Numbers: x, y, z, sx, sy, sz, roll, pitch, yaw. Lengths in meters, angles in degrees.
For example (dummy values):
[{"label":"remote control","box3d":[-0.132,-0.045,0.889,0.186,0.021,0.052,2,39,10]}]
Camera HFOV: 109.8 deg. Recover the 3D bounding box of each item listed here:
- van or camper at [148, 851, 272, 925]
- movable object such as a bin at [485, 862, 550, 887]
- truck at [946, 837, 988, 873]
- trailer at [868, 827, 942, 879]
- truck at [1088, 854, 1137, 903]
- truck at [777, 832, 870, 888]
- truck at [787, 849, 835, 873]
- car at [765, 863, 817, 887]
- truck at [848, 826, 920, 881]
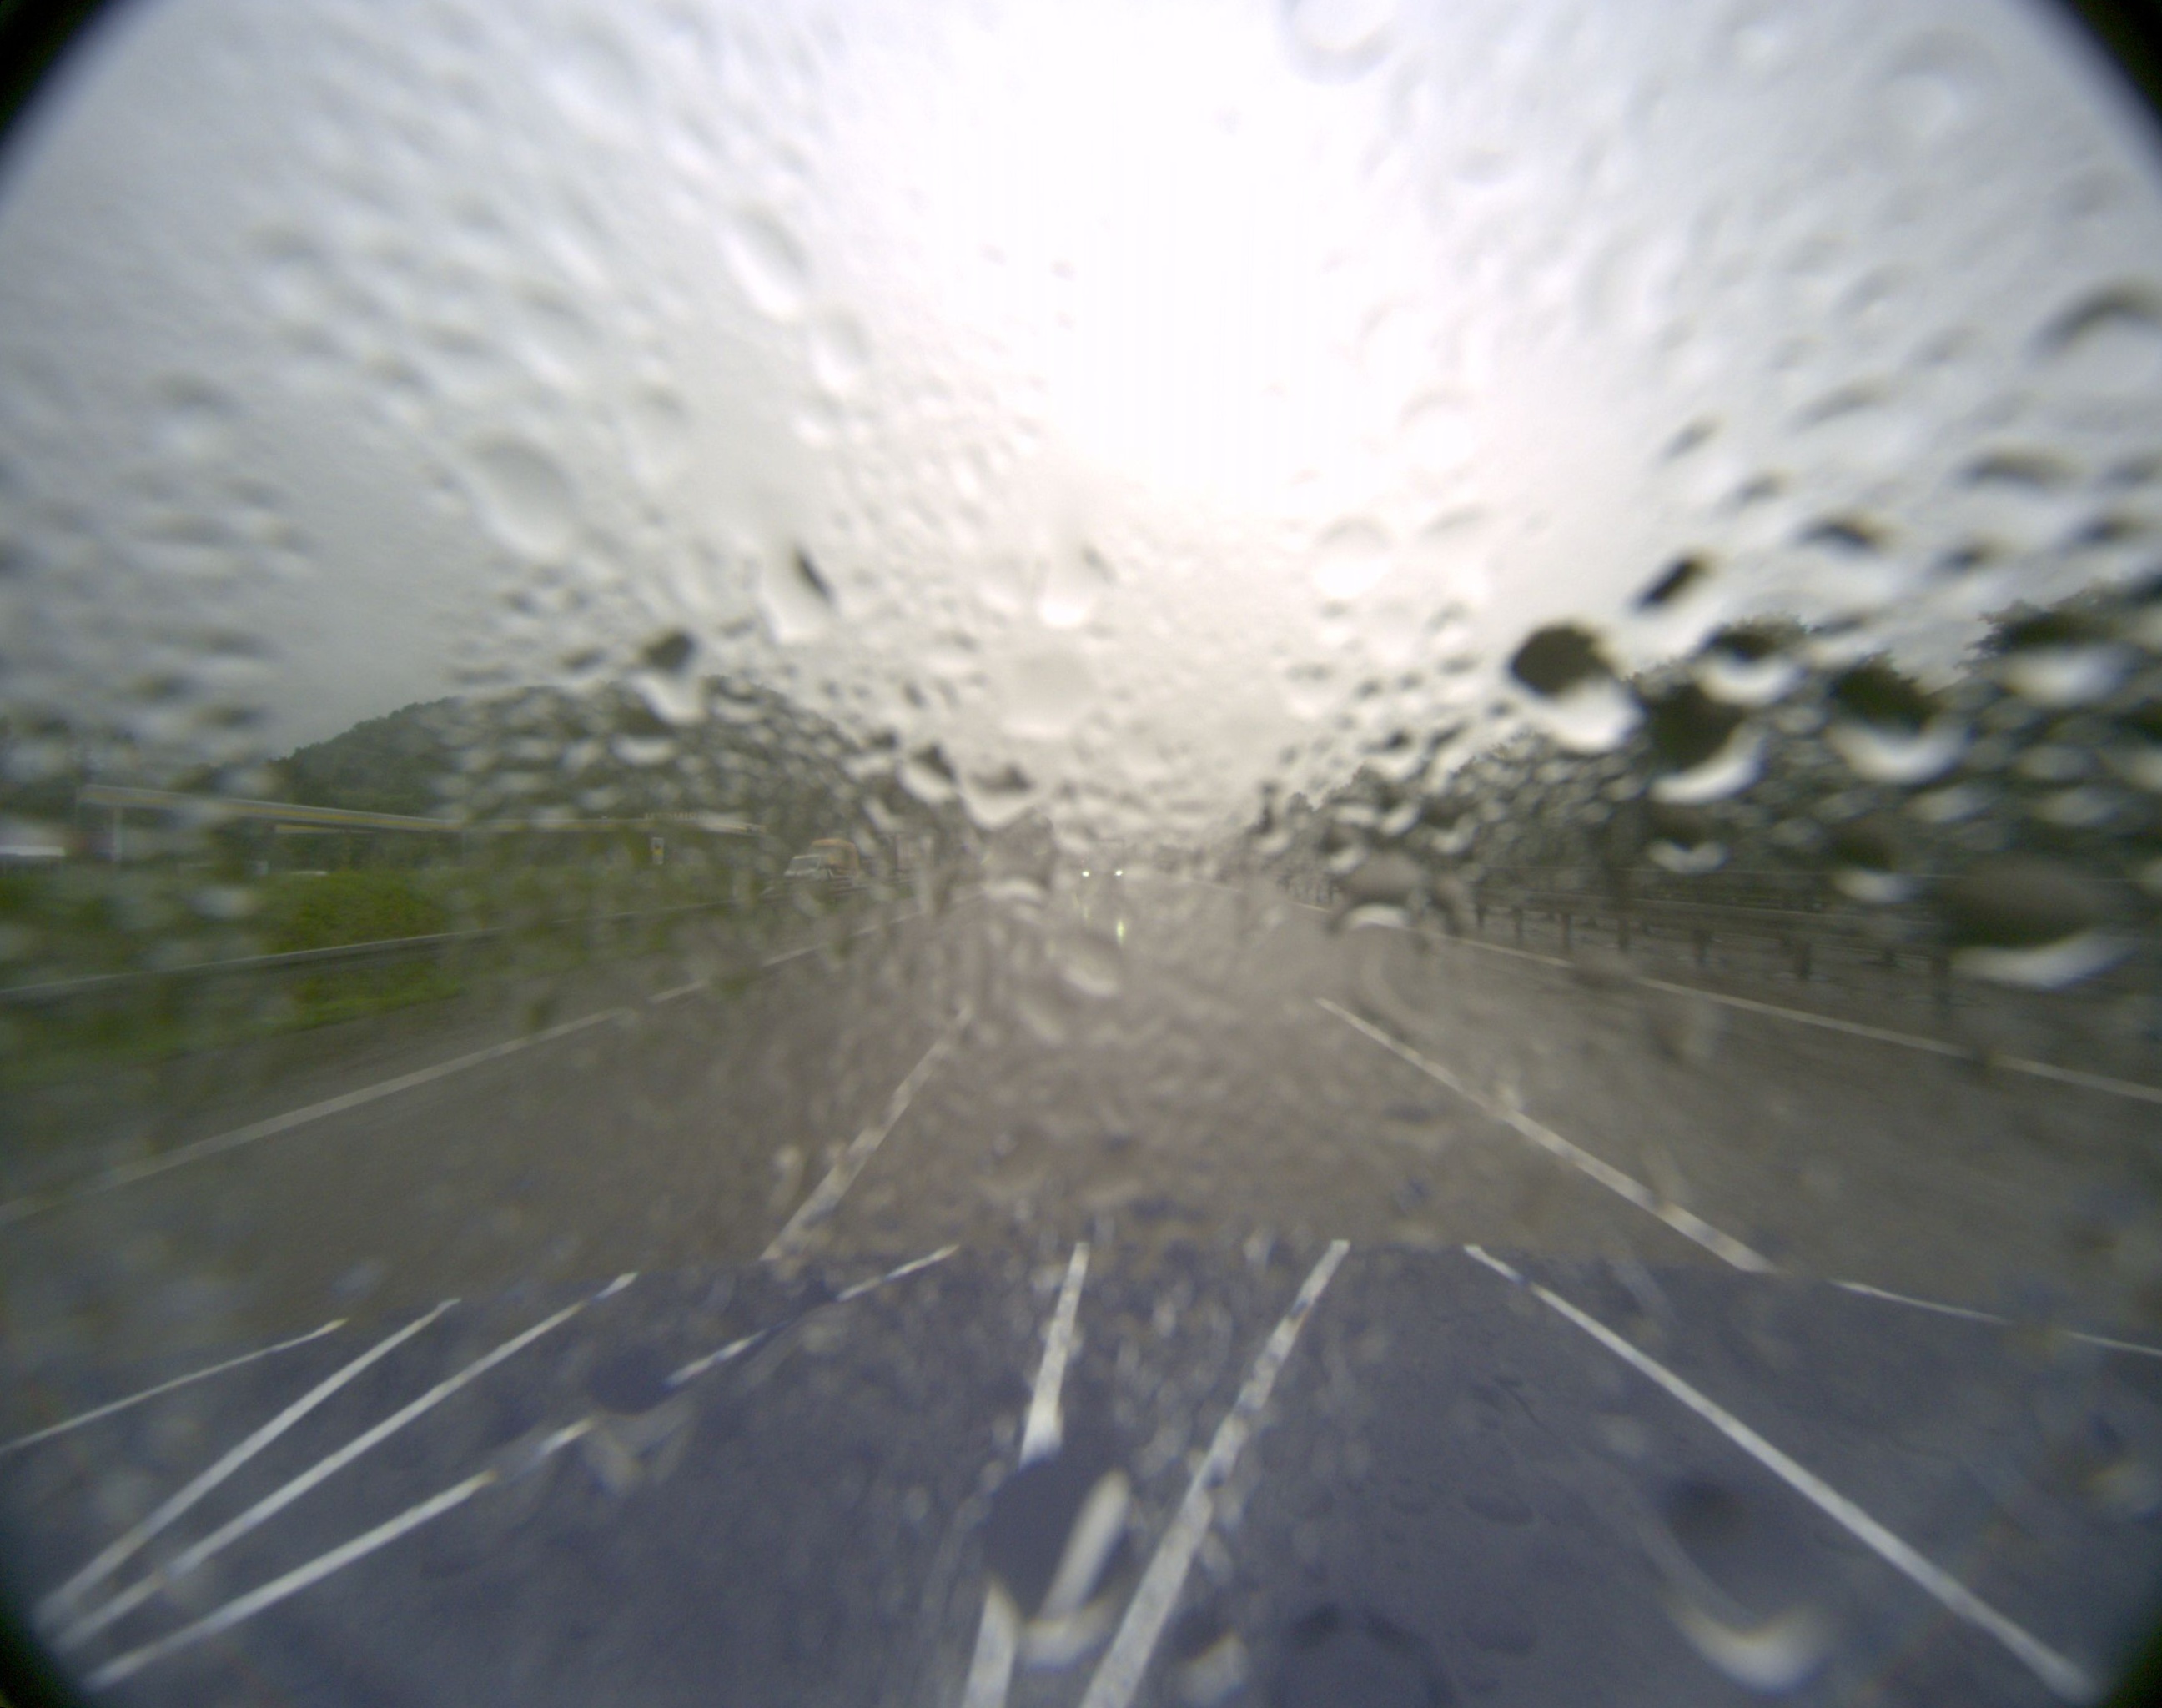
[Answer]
[{"label":"van or camper","box3d":[-39.621,1.472,34.792,2.003,3.041,6.158,-3,1,-33]},{"label":"movable object such as a bin","box3d":[-55.192,1.981,74.545,1.998,2.176,5.724,-2,0,0]},{"label":"truck","box3d":[-14.967,0.116,100.849,3.409,4.376,11.049,-3,0,1]},{"label":"trailer","box3d":[-16.025,-0.111,70.540,3.525,4.237,11.920,-2,0,2]},{"label":"truck","box3d":[1.336,0.997,35.219,1.998,2.002,7.575,-1,0,1]},{"label":"truck","box3d":[-16.065,0.302,48.206,2.296,3.129,8.864,-2,0,3]},{"label":"truck","box3d":[-48.131,1.198,135.661,2.750,3.844,7.548,-2,1,35]},{"label":"car","box3d":[-24.622,1.718,64.719,1.998,1.740,5.663,-2,0,3]},{"label":"truck","box3d":[-16.274,-0.055,63.460,3.536,4.195,7.816,-2,1,2]}]
